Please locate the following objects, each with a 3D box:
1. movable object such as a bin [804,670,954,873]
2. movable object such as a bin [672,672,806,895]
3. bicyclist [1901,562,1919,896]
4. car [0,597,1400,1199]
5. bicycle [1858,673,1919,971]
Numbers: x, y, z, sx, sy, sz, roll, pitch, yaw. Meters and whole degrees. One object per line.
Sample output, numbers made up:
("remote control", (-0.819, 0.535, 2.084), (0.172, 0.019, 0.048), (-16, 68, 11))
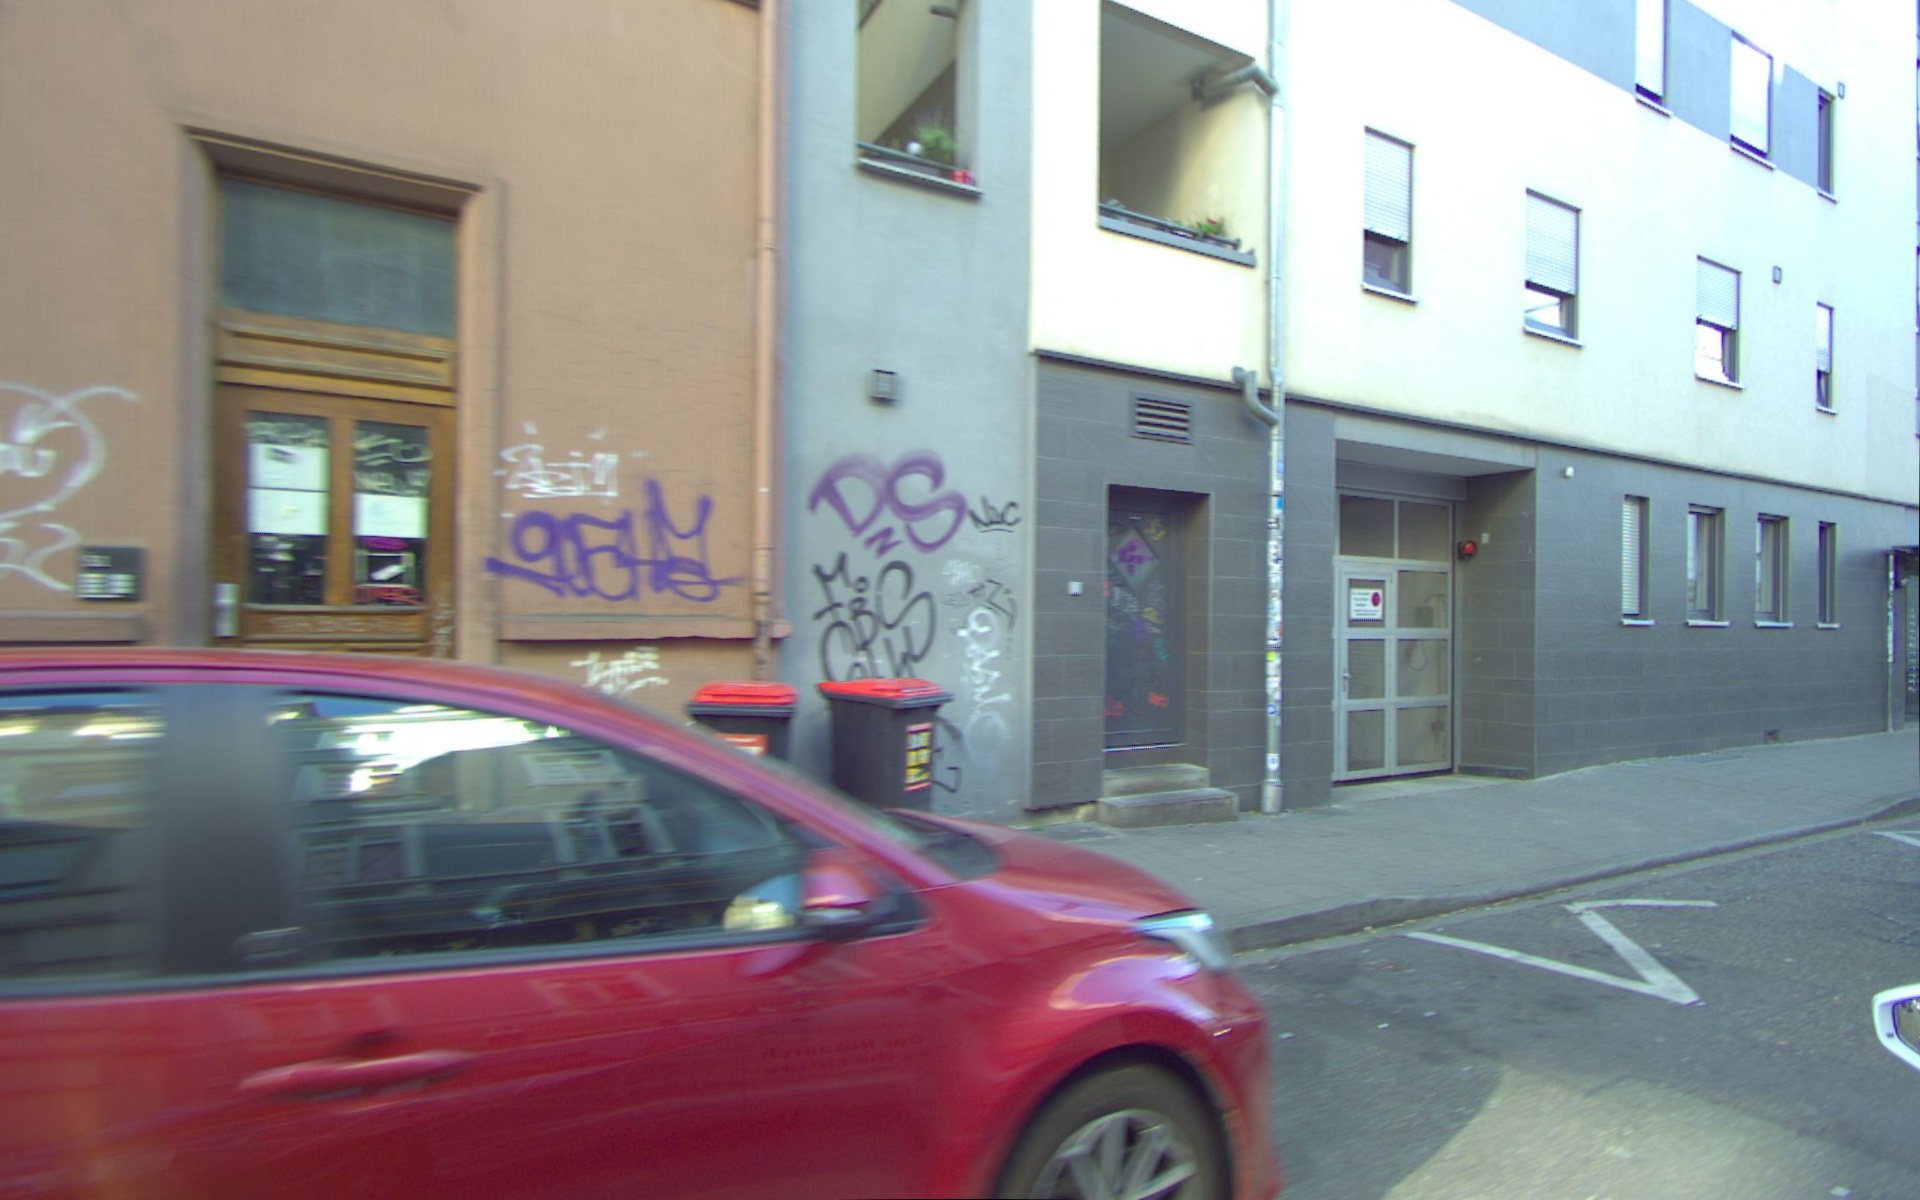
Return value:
("movable object such as a bin", (-0.484, 0.991, 6.046), (0.717, 1.081, 0.506), (2, 0, 29))
("movable object such as a bin", (-1.191, 0.966, 5.518), (0.640, 1.081, 0.760), (2, 0, -10))
("bicyclist", (5.375, 0.627, 4.844), (0.942, 1.649, 0.946), (1, -3, -30))
("car", (-1.027, 0.844, 2.240), (3.823, 1.541, 1.743), (2, -5, -30))
("bicycle", (5.595, 1.034, 4.975), (2.525, 1.331, 0.973), (1, -2, -30))
